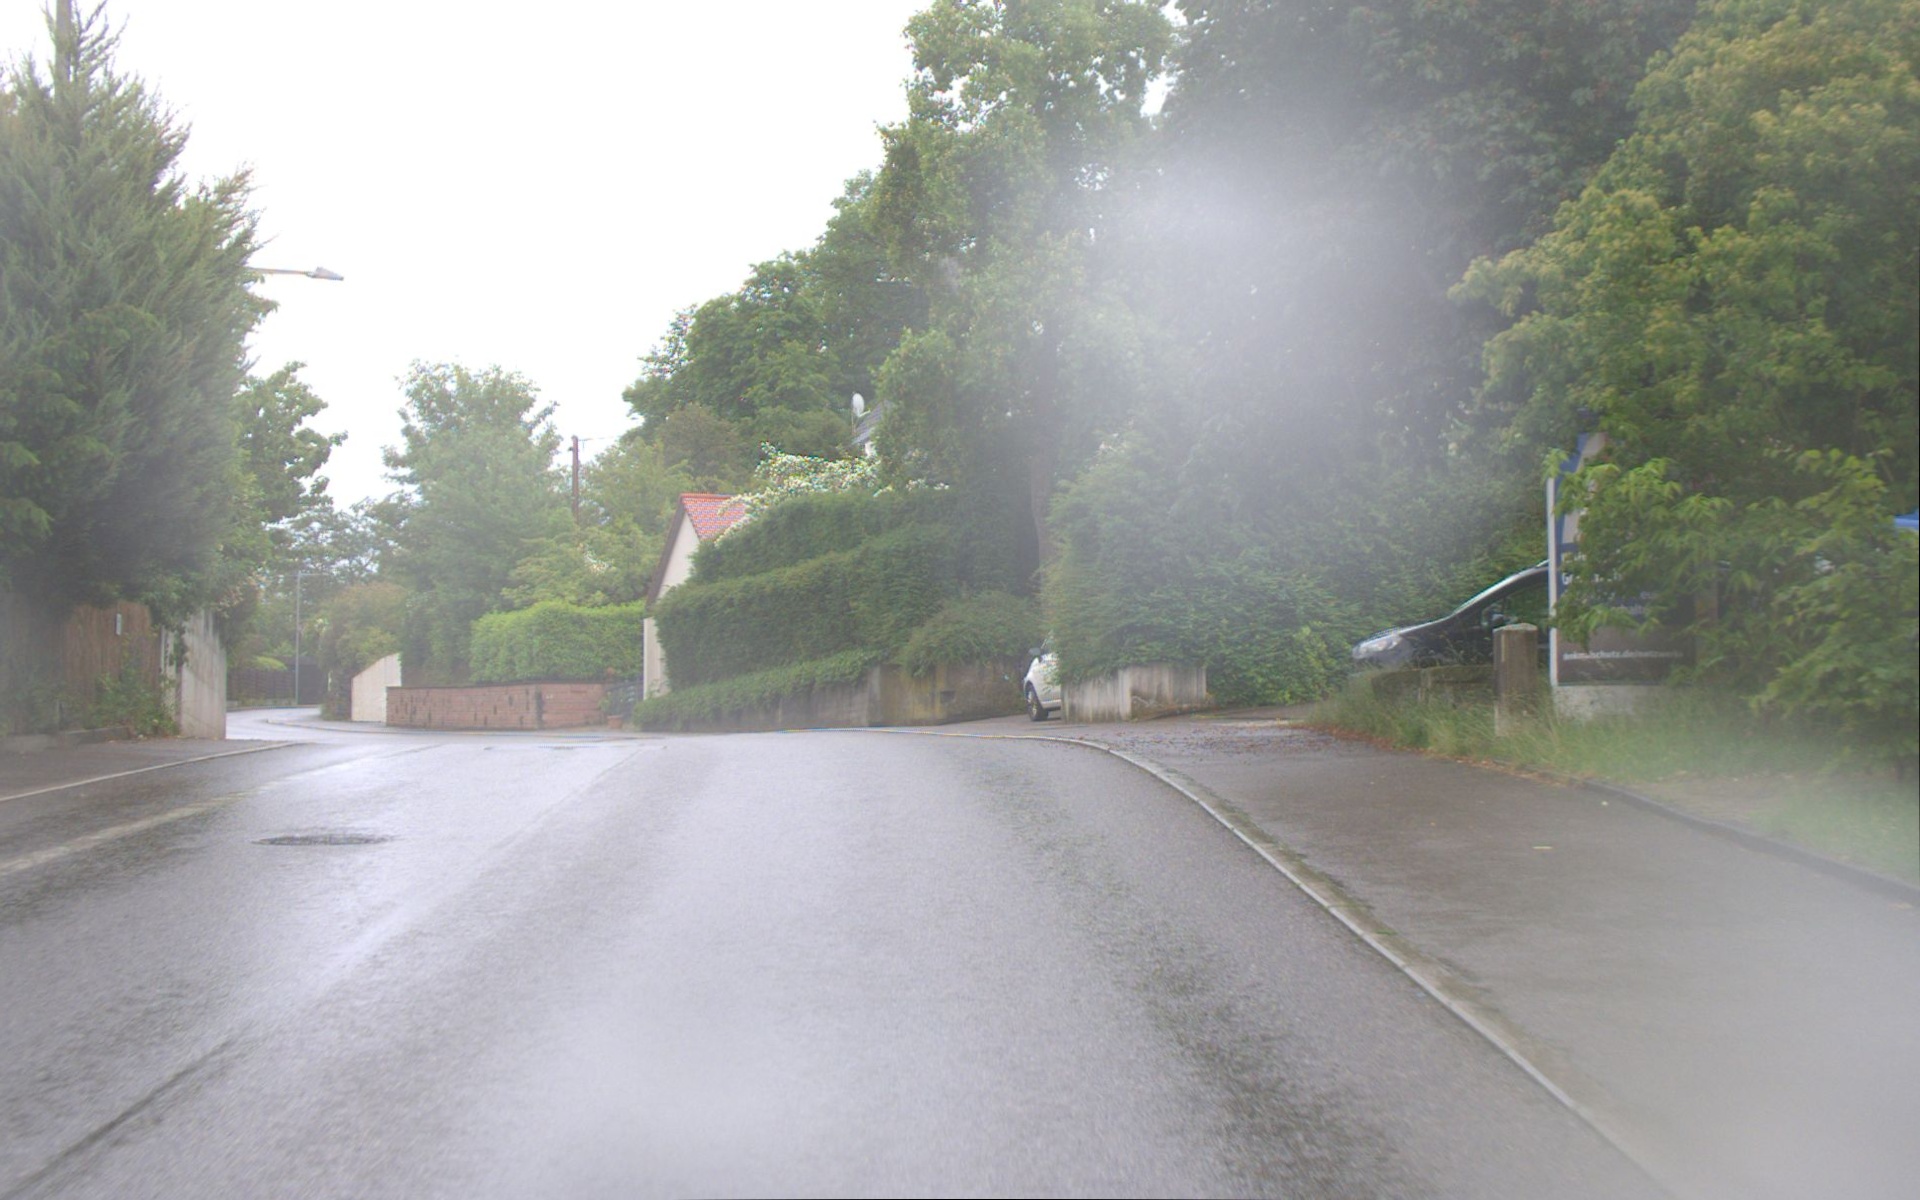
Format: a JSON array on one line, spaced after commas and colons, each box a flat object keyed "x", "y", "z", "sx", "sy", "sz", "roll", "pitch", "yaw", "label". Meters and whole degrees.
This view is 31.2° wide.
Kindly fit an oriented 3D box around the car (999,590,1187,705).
[{"x": 1.944, "y": 0.721, "z": 51.382, "sx": 1.531, "sy": 1.530, "sz": 3.846, "roll": -5, "pitch": 0, "yaw": -16, "label": "car"}]

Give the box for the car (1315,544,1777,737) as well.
[{"x": 5.779, "y": 0.407, "z": 33.943, "sx": 4.333, "sy": 1.710, "sz": 1.727, "roll": 2, "pitch": -2, "yaw": 11, "label": "car"}]

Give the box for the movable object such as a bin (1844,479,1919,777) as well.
[{"x": 5.324, "y": 0.128, "z": 17.548, "sx": 1.240, "sy": 1.492, "sz": 0.983, "roll": -1, "pitch": 0, "yaw": -35, "label": "movable object such as a bin"}]

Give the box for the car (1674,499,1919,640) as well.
[{"x": 11.434, "y": -0.410, "z": 43.910, "sx": 4.264, "sy": 1.628, "sz": 1.729, "roll": -2, "pitch": -2, "yaw": -24, "label": "car"}]
